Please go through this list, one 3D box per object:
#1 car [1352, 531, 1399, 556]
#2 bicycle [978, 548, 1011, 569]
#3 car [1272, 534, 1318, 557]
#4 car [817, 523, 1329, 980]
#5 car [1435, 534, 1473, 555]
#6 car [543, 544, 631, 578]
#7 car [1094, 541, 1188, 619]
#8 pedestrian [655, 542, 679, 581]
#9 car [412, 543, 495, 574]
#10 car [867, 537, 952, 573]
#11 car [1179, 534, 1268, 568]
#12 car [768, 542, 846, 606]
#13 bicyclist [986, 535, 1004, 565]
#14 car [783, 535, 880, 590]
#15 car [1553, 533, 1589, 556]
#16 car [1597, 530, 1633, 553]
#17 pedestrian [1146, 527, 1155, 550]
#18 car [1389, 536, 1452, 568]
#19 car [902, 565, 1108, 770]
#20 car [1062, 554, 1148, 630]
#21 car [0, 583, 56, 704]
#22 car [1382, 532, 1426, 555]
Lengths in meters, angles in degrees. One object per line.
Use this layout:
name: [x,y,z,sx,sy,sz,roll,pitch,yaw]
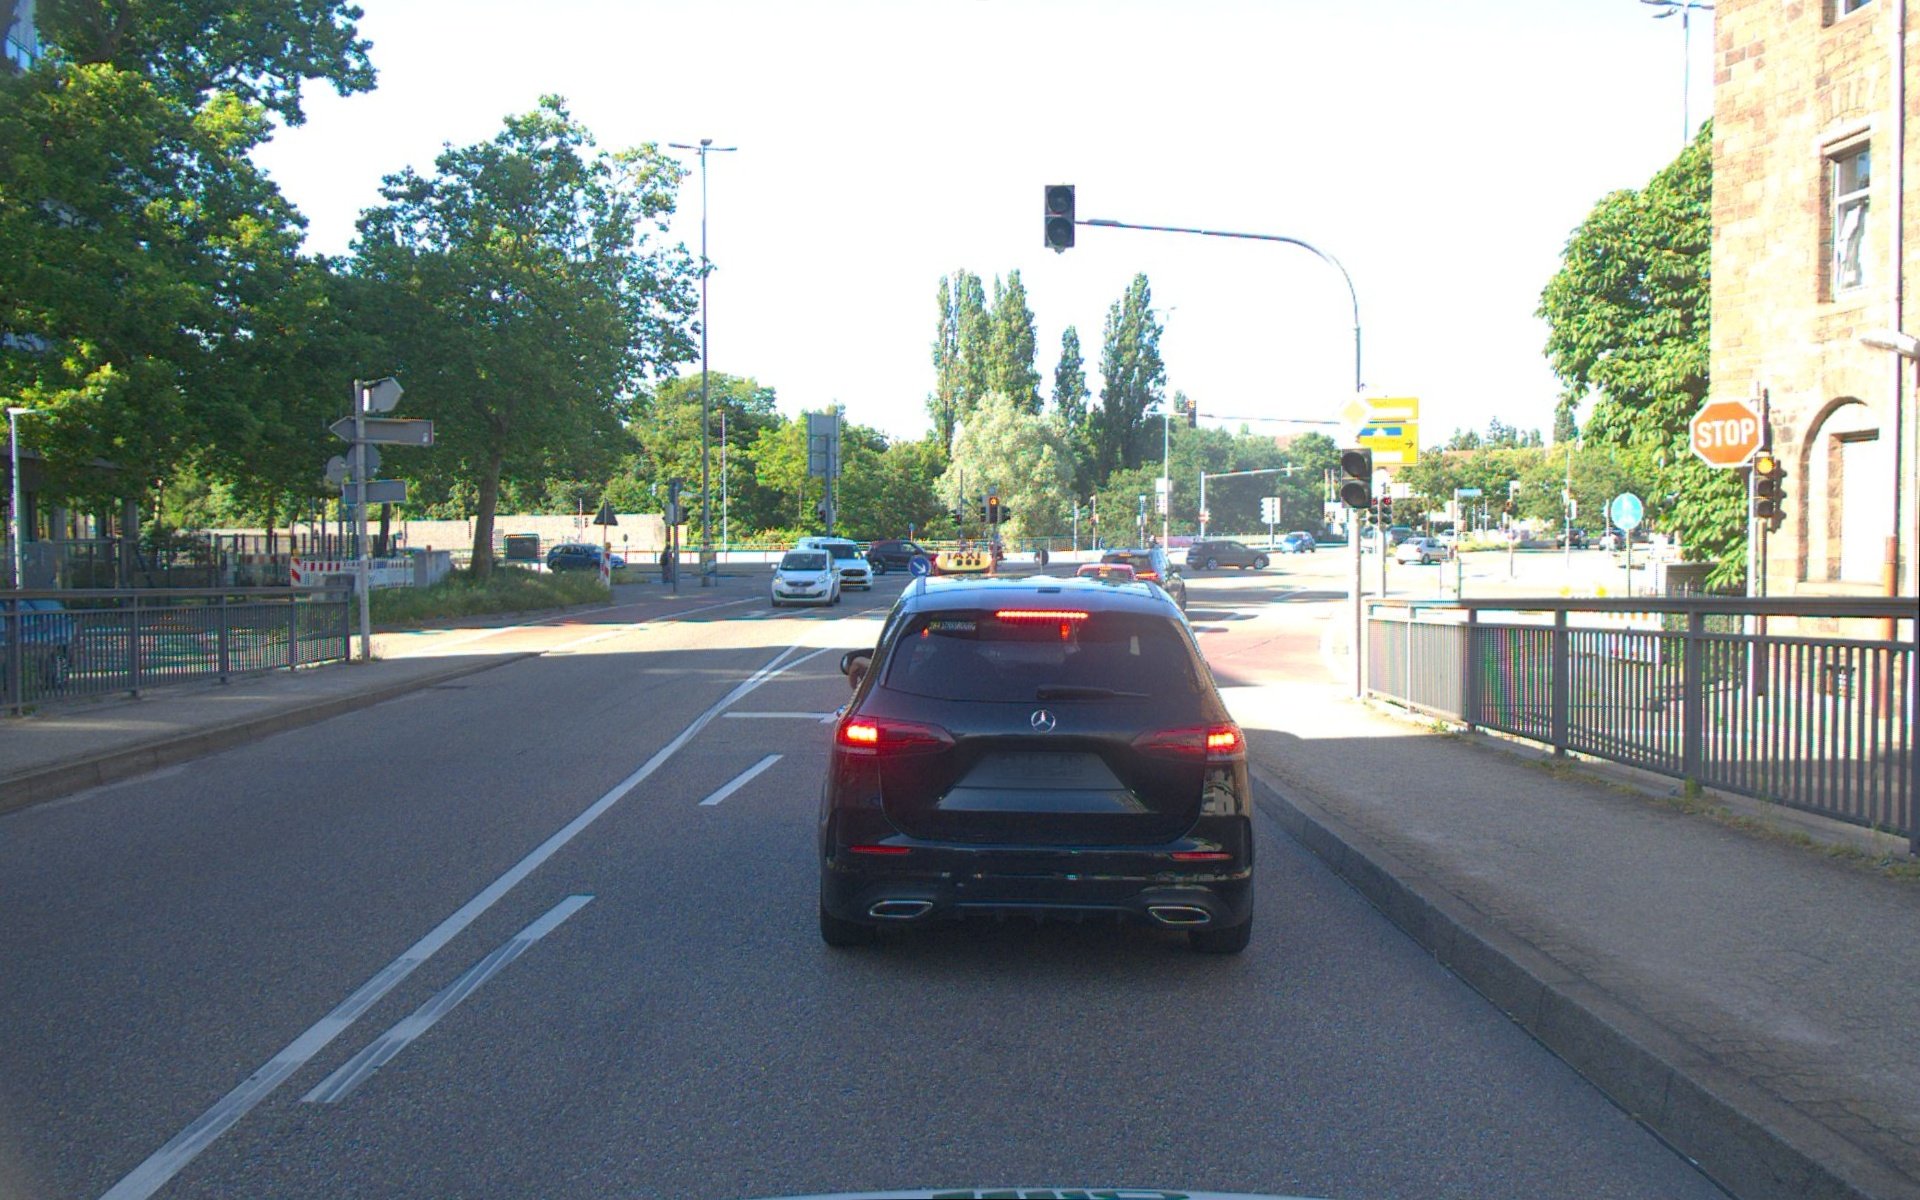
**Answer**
car: [28.503,-3.883,113.453,1.846,1.605,3.988,1,3,34]
bicycle: [1.855,-2.199,88.558,1.974,1.068,0.519,-3,2,-44]
car: [24.071,-3.946,118.764,1.846,1.605,3.988,1,3,34]
car: [0.369,0.522,8.013,1.840,1.641,3.999,1,1,-1]
car: [40.581,-4.554,135.774,1.846,1.605,3.988,1,3,34]
car: [-18.761,-1.969,83.182,4.320,1.658,1.885,1,2,34]
car: [4.789,-0.568,43.290,1.685,1.843,4.301,0,3,16]
pedestrian: [-11.653,-1.532,65.787,0.690,1.552,0.744,1,1,9]
car: [-27.390,-2.240,89.433,4.316,1.658,1.887,1,2,31]
car: [-2.388,-2.149,79.111,3.904,1.658,1.892,0,1,2]
car: [12.996,-2.432,81.649,3.928,1.658,1.880,-1,2,-20]
car: [-4.417,-0.794,48.184,1.741,1.663,4.002,-1,3,2]
bicyclist: [1.854,-2.700,88.535,0.801,1.578,0.519,-3,2,-43]
car: [-4.662,-1.351,59.242,1.894,1.825,4.861,-2,2,-25]
car: [46.552,-4.211,125.976,1.850,1.574,3.991,1,0,31]
car: [46.981,-4.188,118.625,1.707,1.524,3.990,0,0,32]
pedestrian: [13.477,-4.326,117.031,0.443,1.613,0.499,0,2,39]
car: [24.992,-2.608,89.643,1.856,1.658,3.980,1,2,40]
car: [0.385,0.502,14.855,1.606,1.556,3.475,-1,2,1]
car: [3.329,-0.225,37.535,1.685,1.548,3.490,0,3,9]
car: [-14.960,0.681,23.723,1.814,1.722,4.000,0,2,-1]
car: [31.863,-4.087,118.690,1.846,1.605,3.988,1,3,34]
